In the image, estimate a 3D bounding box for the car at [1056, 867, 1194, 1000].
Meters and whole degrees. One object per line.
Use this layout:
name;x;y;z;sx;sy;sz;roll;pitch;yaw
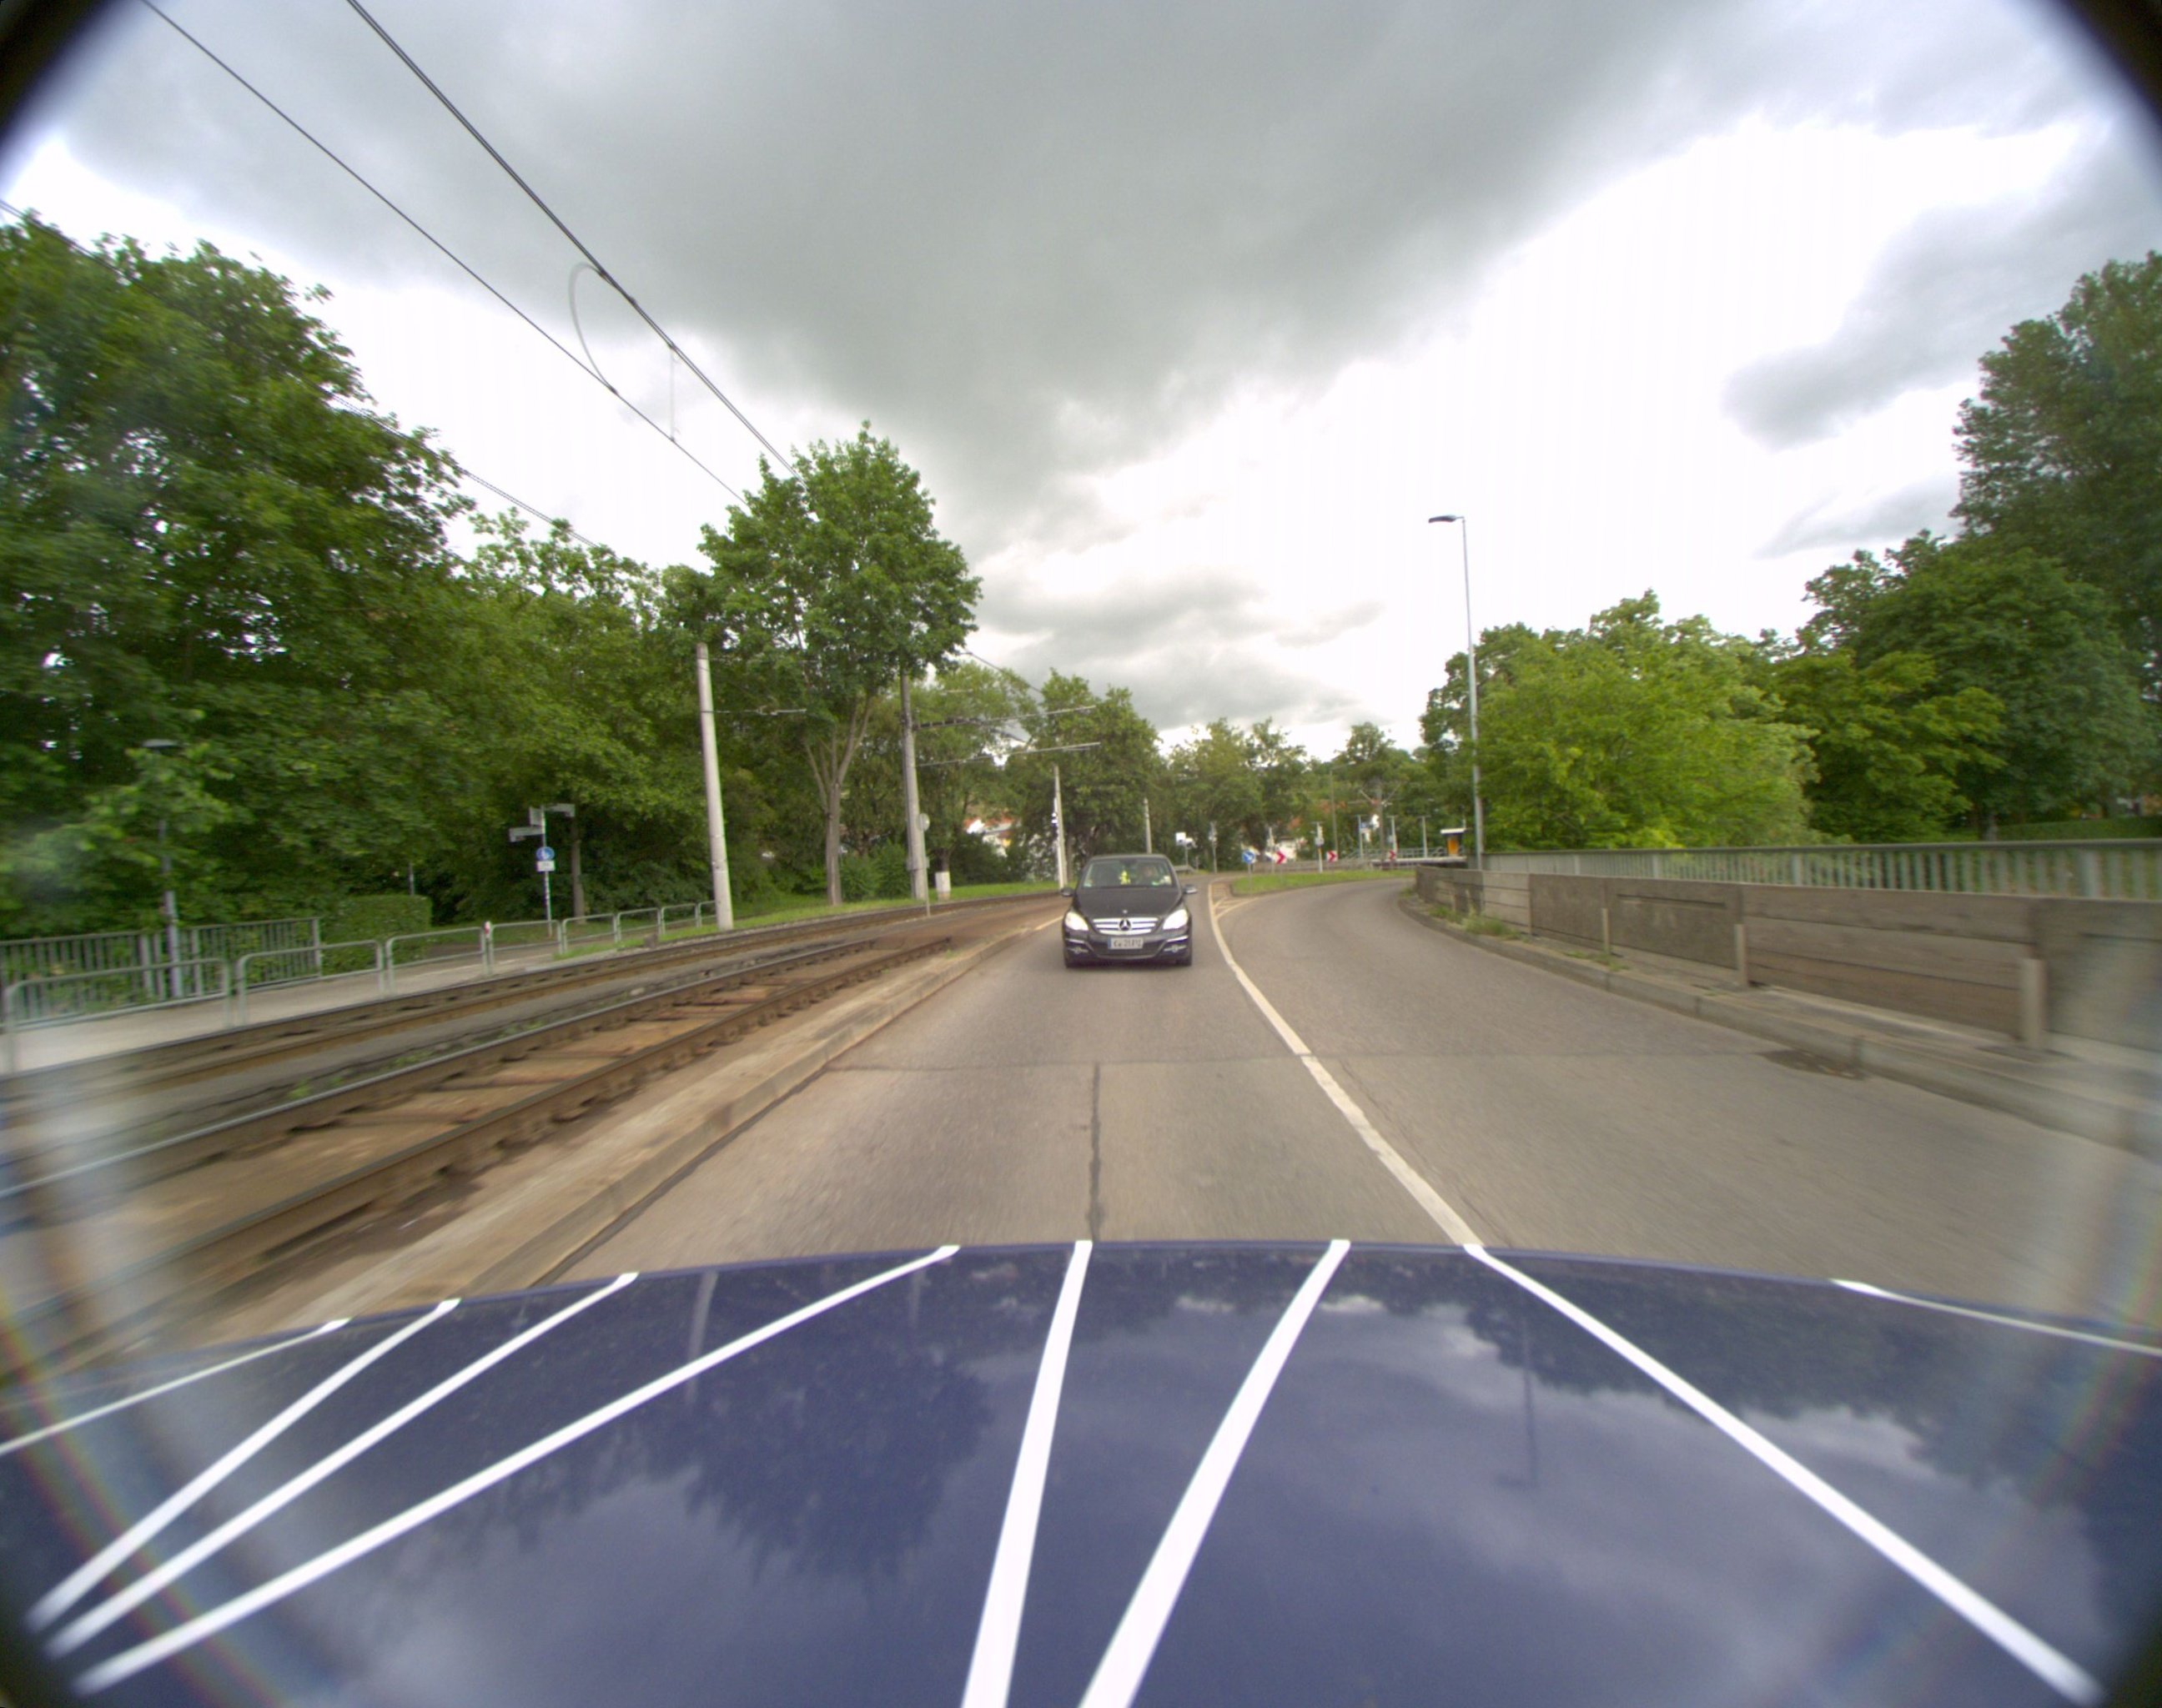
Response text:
car;0.829;1.064;11.859;1.710;1.573;4.445;-2;0;7
